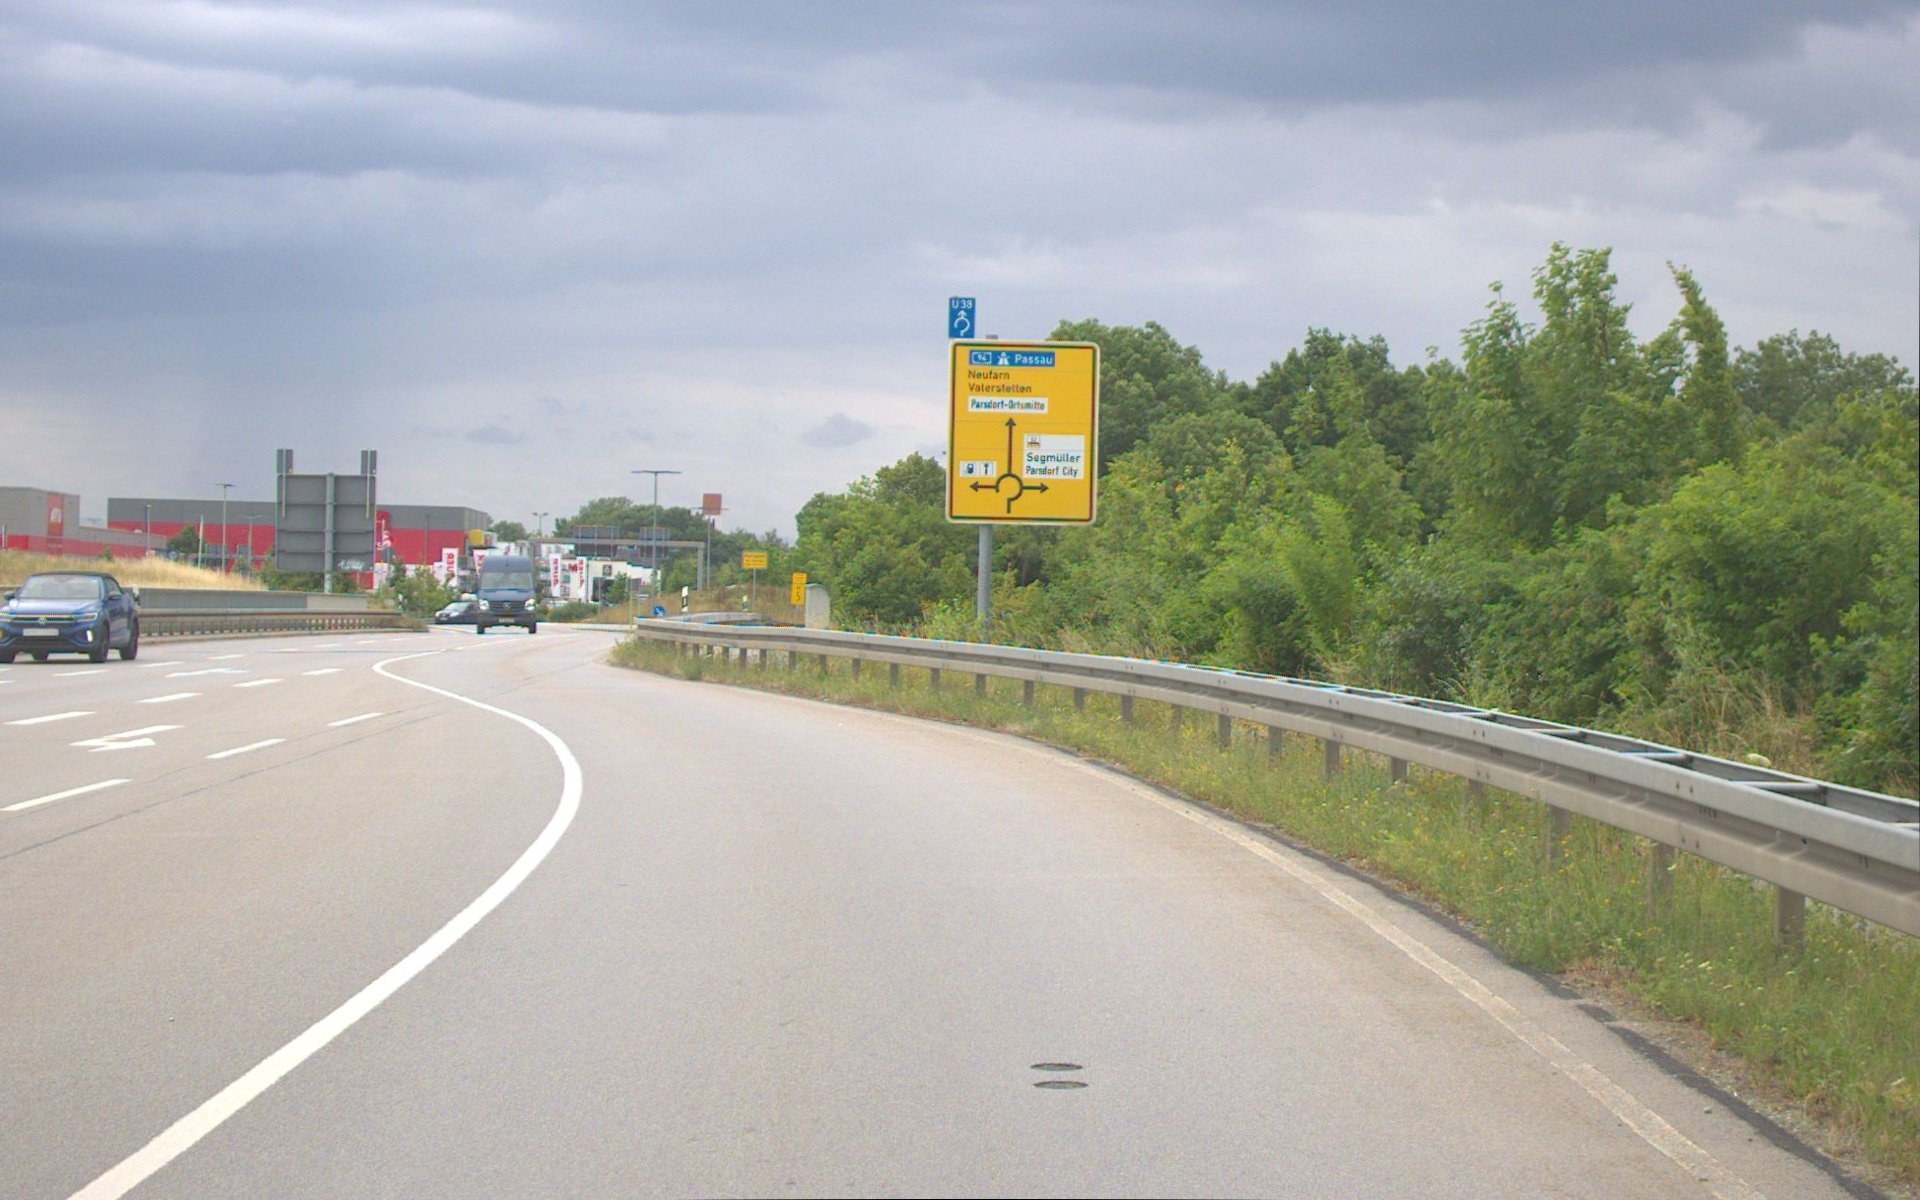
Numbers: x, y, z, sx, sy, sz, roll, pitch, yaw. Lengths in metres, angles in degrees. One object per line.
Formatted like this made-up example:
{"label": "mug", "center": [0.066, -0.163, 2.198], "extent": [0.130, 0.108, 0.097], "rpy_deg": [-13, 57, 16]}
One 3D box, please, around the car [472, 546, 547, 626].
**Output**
{"label": "car", "center": [-14.997, -0.469, 114.755], "extent": [1.993, 2.583, 6.005], "rpy_deg": [1, 0, -3]}

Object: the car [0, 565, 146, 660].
{"label": "car", "center": [-15.208, 0.196, 58.785], "extent": [1.797, 1.545, 4.000], "rpy_deg": [1, 0, -3]}
